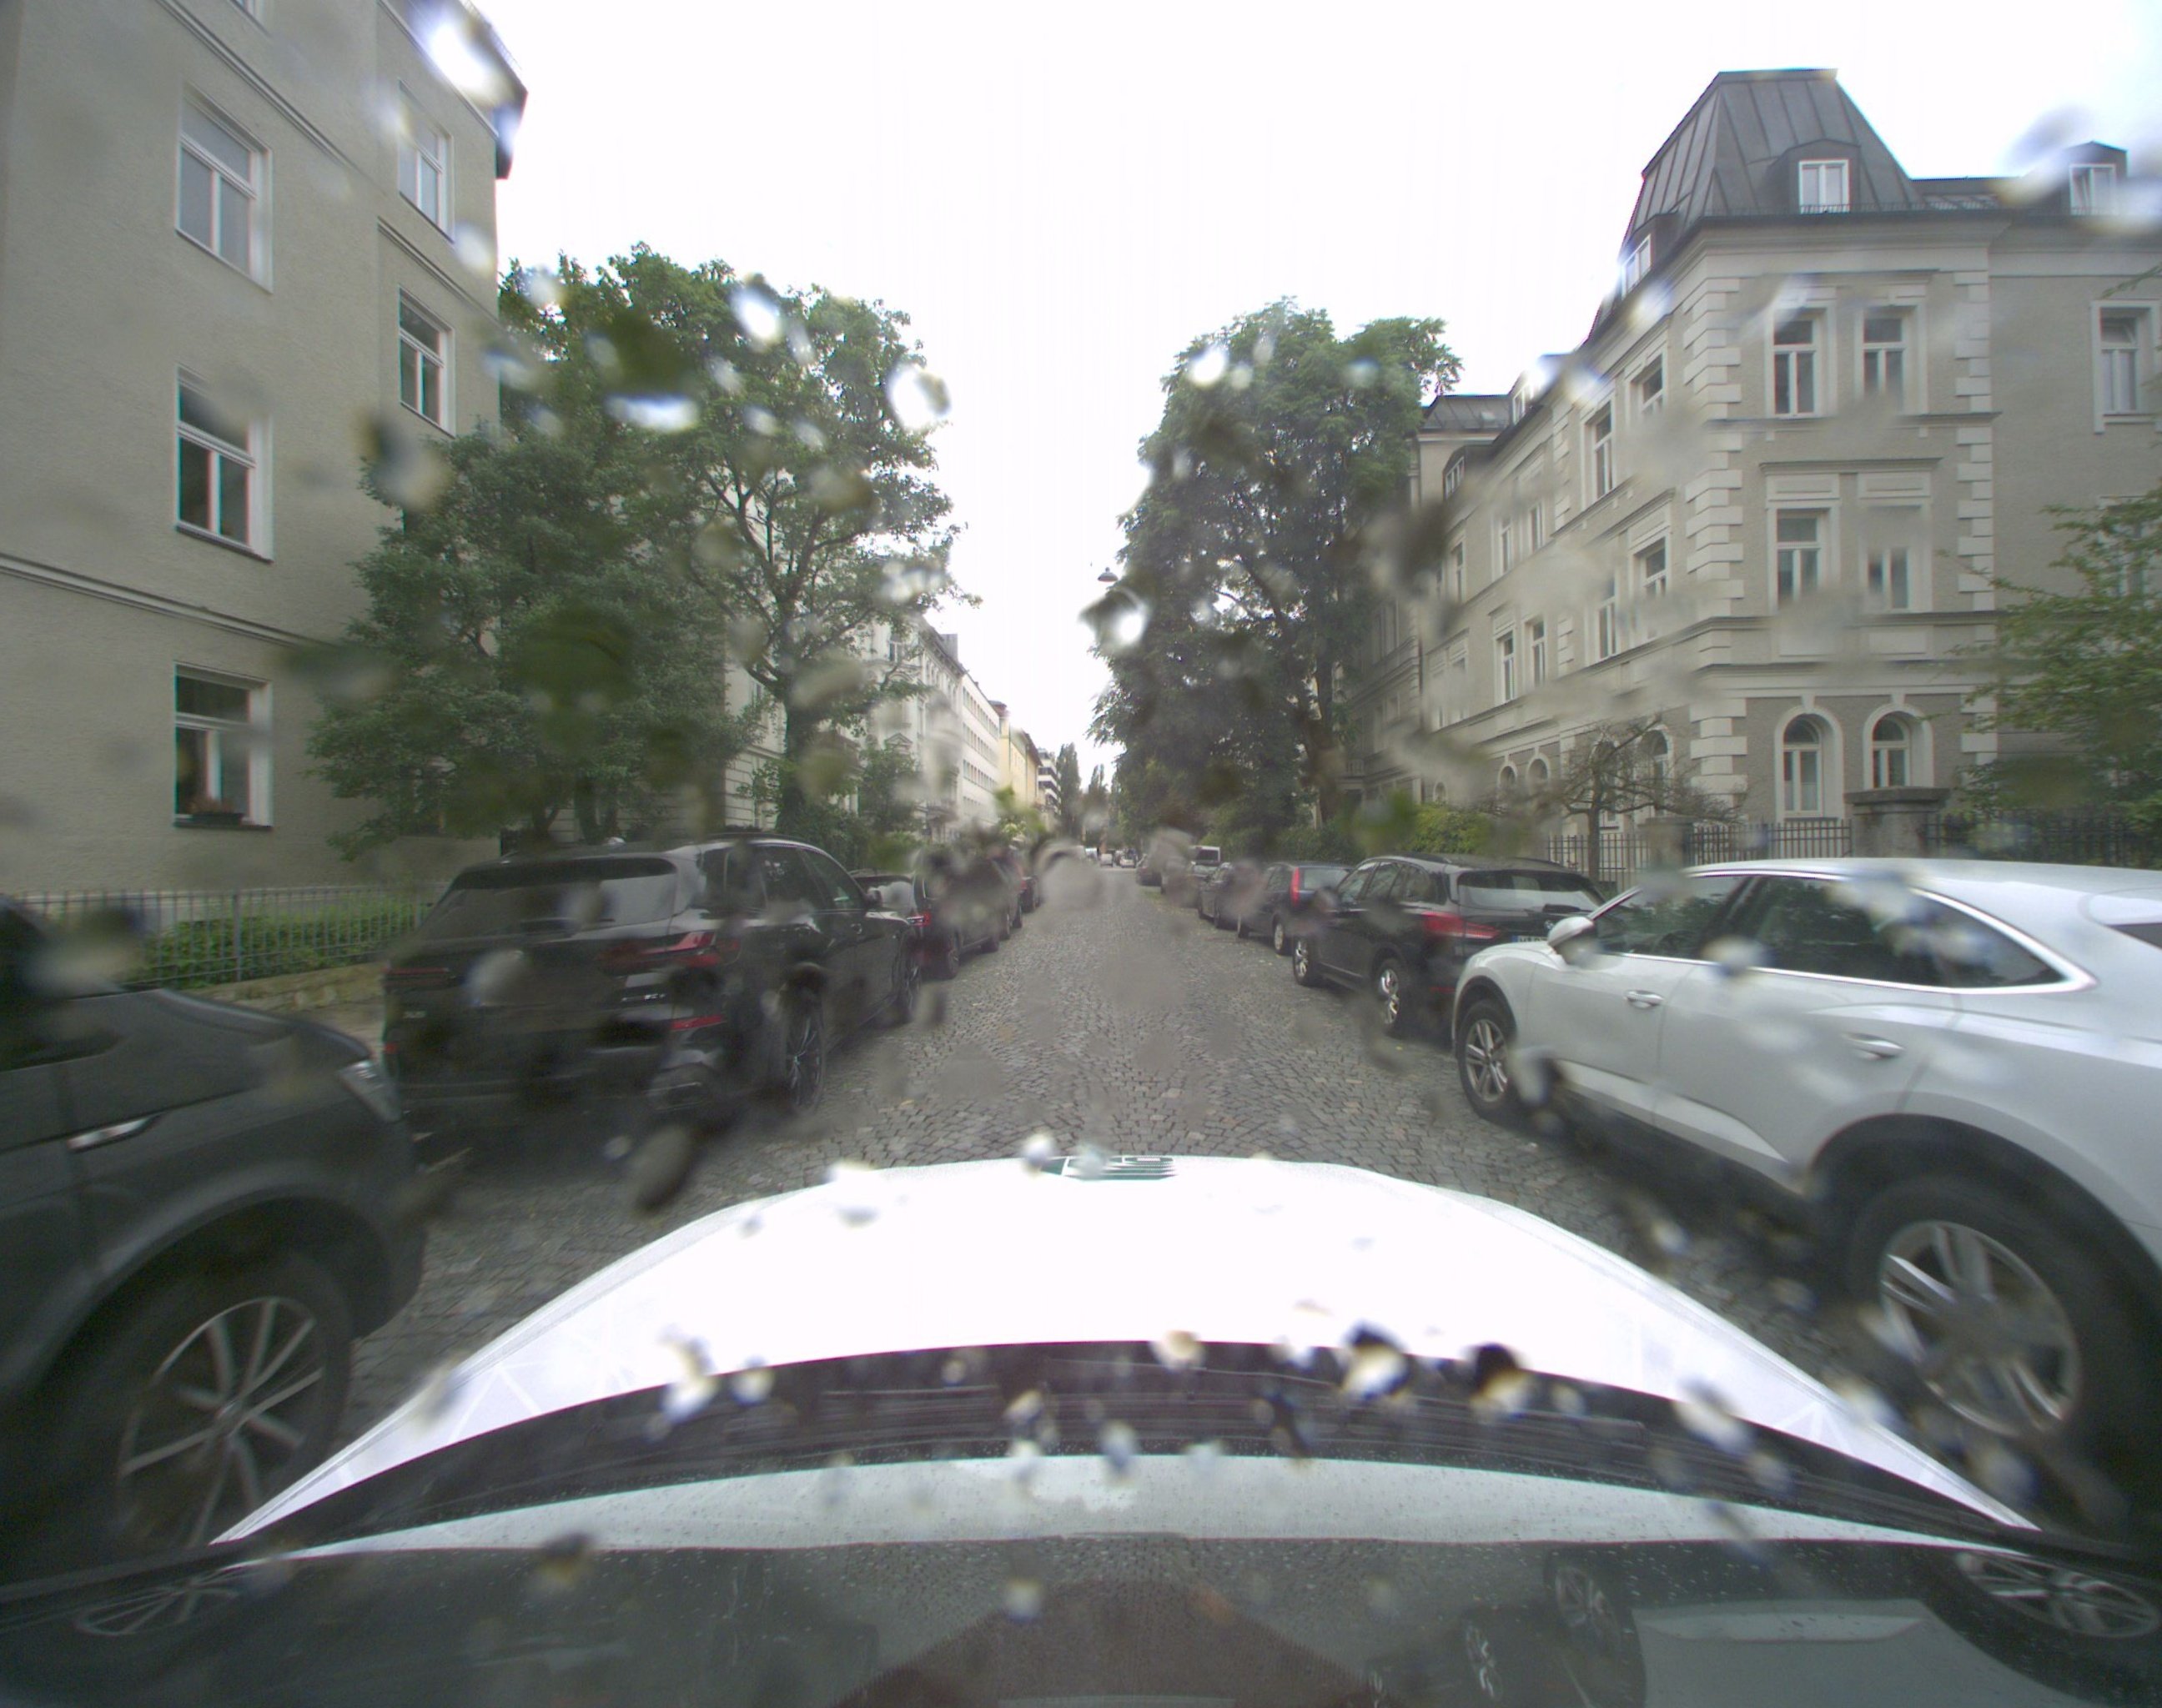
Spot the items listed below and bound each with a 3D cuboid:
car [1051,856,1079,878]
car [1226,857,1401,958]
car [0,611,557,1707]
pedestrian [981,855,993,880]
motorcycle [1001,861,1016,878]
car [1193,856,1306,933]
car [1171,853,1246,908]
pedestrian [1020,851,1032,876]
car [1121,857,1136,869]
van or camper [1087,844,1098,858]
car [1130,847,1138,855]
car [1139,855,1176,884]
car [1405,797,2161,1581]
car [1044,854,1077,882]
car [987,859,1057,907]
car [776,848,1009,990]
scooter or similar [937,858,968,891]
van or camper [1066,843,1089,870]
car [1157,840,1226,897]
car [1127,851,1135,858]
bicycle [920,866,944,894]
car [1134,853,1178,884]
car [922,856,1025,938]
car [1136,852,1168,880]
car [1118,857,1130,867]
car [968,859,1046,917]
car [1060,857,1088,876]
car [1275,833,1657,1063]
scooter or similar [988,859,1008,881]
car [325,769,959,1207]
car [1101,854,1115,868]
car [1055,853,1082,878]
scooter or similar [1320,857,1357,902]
[{"bbox_3d":[-1.074,0.876,57.236,1.867,1.451,4.207,-2,0,0],"label":"car"},{"bbox_3d":[3.799,0.802,14.068,1.690,1.440,4.057,2,0,-3],"label":"car"},{"bbox_3d":[-2.807,0.574,0.366,1.867,1.917,4.828,-3,0,1],"label":"car"},{"bbox_3d":[-6.259,0.904,54.225,0.715,1.687,0.695,-1,-1,1],"label":"pedestrian"},{"bbox_3d":[-5.262,1.134,59.216,0.619,1.196,1.870,0,0,11],"label":"motorcycle"},{"bbox_3d":[3.673,0.821,18.458,1.707,1.472,4.269,2,0,1],"label":"car"},{"bbox_3d":[3.896,0.769,25.558,1.829,1.490,4.424,2,0,3],"label":"car"},{"bbox_3d":[-4.235,0.696,62.695,0.789,1.917,0.759,0,0,1],"label":"pedestrian"},{"bbox_3d":[6.126,1.098,104.833,1.783,1.520,4.002,-1,0,2],"label":"car"},{"bbox_3d":[2.415,-0.628,168.441,2.247,2.742,5.100,0,0,2],"label":"van or camper"},{"bbox_3d":[13.432,-0.840,207.648,1.986,2.014,4.002,0,-1,2],"label":"car"},{"bbox_3d":[4.512,0.886,48.484,1.811,1.580,4.209,2,0,1],"label":"car"},{"bbox_3d":[3.128,0.652,3.486,1.865,1.490,4.621,2,0,3],"label":"car"},{"bbox_3d":[-1.237,0.863,51.217,1.867,1.580,4.254,-3,0,0],"label":"car"},{"bbox_3d":[-2.004,0.974,28.958,1.879,1.417,4.409,-4,0,2],"label":"car"},{"bbox_3d":[-2.412,0.763,11.965,1.970,1.561,5.020,-3,0,3],"label":"car"},{"bbox_3d":[-5.793,0.912,36.867,0.938,1.441,2.656,1,0,0],"label":"scooter or similar"},{"bbox_3d":[-0.319,0.268,83.879,1.986,2.652,4.002,-3,0,2],"label":"van or camper"},{"bbox_3d":[4.104,0.518,31.052,1.867,1.928,5.163,2,0,0],"label":"car"},{"bbox_3d":[14.259,0.064,232.201,1.986,2.014,4.002,0,-1,2],"label":"car"},{"bbox_3d":[-6.232,1.069,34.181,0.575,1.122,2.051,-1,0,0],"label":"bicycle"},{"bbox_3d":[3.940,0.729,43.247,1.867,1.503,4.510,2,0,0],"label":"car"},{"bbox_3d":[-2.112,0.805,17.019,1.657,1.444,4.169,-2,0,-1],"label":"car"},{"bbox_3d":[4.755,0.798,55.050,1.866,1.733,4.595,2,0,2],"label":"car"},{"bbox_3d":[6.657,1.159,125.450,1.783,1.520,4.002,-1,0,2],"label":"car"},{"bbox_3d":[-2.096,0.936,24.198,1.777,1.417,4.497,-4,0,1],"label":"car"},{"bbox_3d":[-0.556,1.031,68.913,1.864,1.580,4.214,1,0,5],"label":"car"},{"bbox_3d":[3.455,0.714,8.460,1.866,1.670,4.659,2,0,2],"label":"car"},{"bbox_3d":[-5.450,1.029,53.622,0.938,1.441,2.657,-1,0,2],"label":"scooter or similar"},{"bbox_3d":[-2.455,0.637,6.415,1.986,1.917,5.178,-4,0,1],"label":"car"},{"bbox_3d":[3.882,1.006,115.941,1.986,2.014,4.002,-1,0,2],"label":"car"},{"bbox_3d":[-0.931,0.850,63.587,1.867,1.776,4.123,-4,0,1],"label":"car"},{"bbox_3d":[7.482,0.732,23.716,0.414,1.234,1.242,-4,0,-10],"label":"scooter or similar"}]
